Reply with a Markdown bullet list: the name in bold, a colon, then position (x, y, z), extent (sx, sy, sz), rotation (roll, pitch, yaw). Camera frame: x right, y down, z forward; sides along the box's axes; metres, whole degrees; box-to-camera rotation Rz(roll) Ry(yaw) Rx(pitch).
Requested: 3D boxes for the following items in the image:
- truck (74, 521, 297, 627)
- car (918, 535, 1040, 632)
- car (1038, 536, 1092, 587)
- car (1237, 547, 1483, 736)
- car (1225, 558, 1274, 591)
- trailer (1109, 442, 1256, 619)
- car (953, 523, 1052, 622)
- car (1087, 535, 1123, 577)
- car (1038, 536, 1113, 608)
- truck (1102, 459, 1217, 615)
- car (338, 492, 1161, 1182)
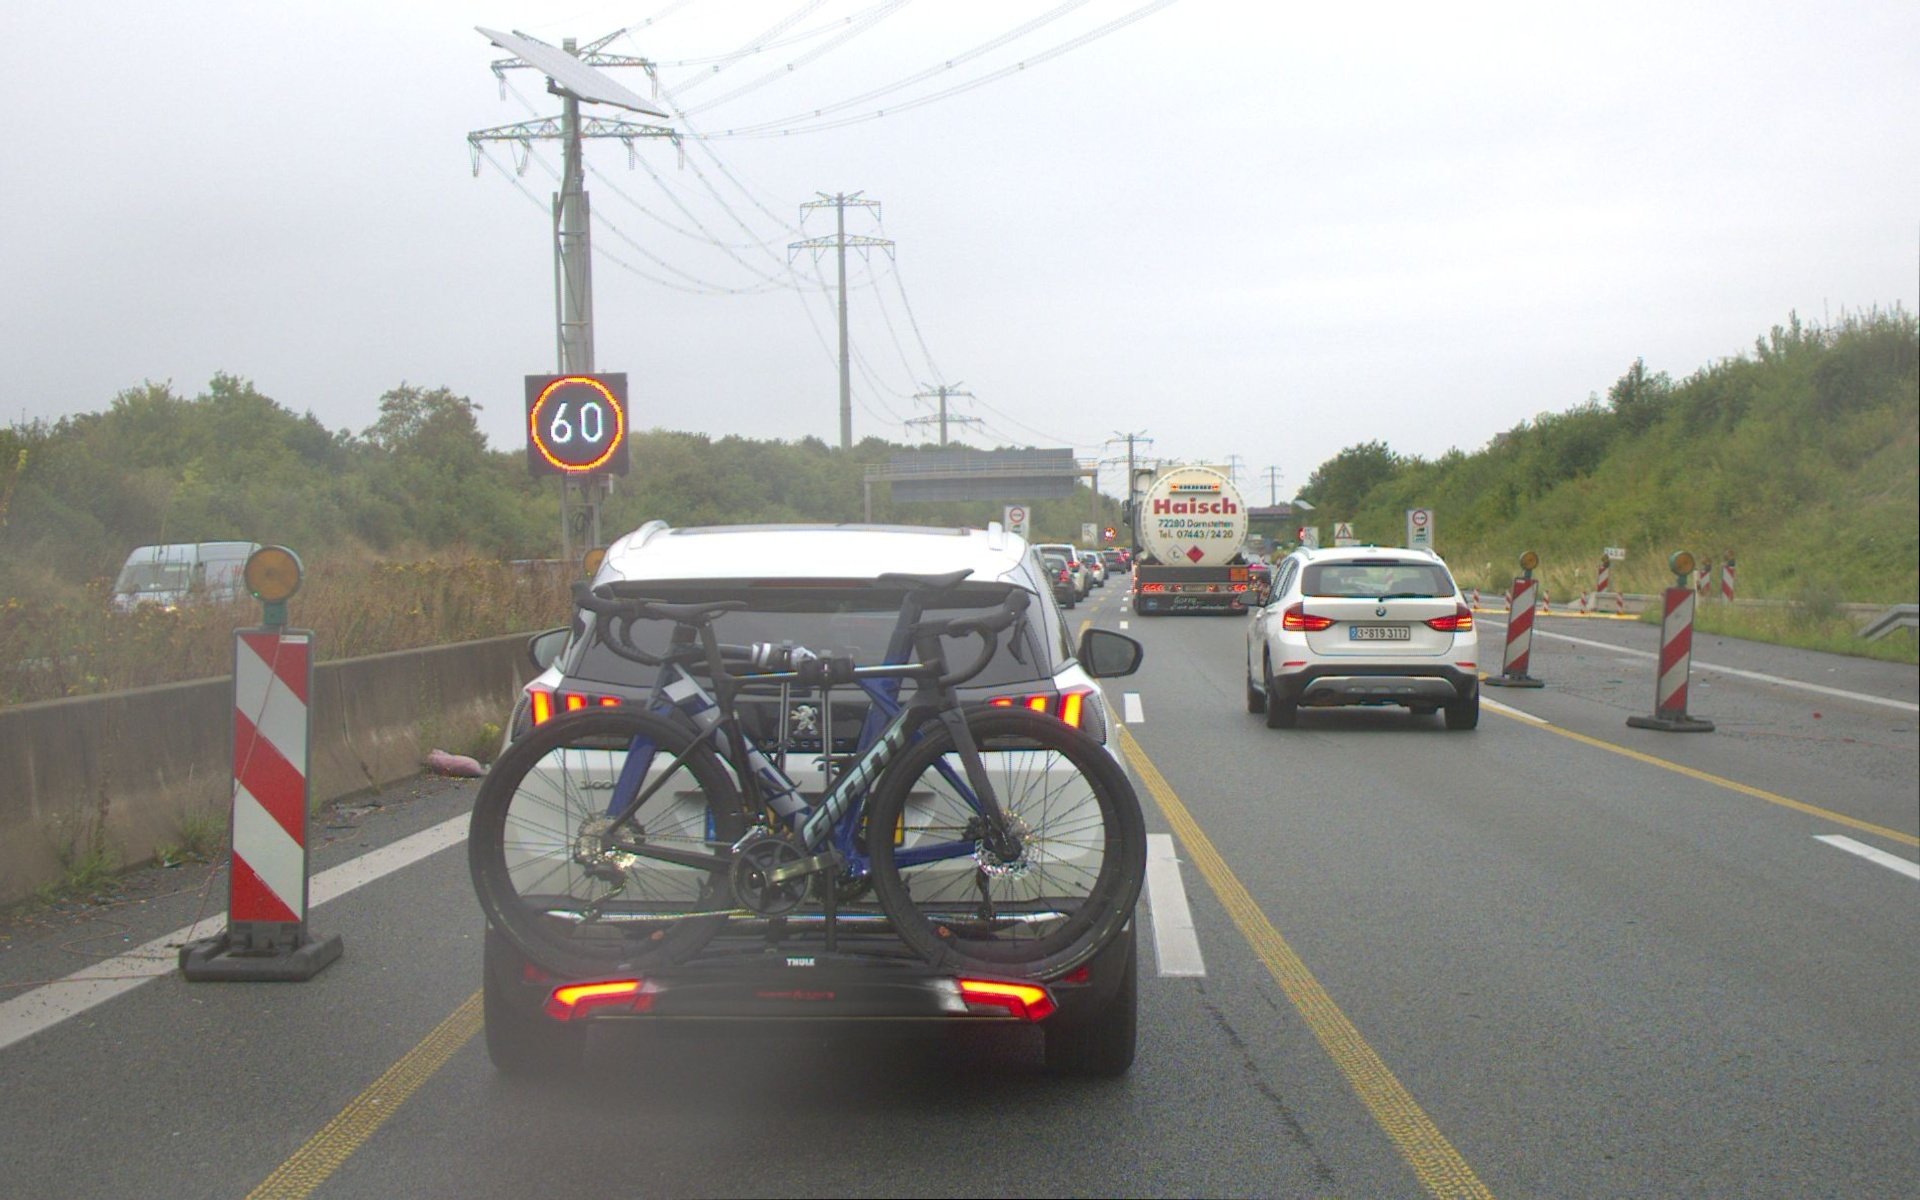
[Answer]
- **truck**: position (-18.807, -0.673, 83.881), extent (1.996, 2.419, 6.427), rotation (-1, 1, 21)
- **car**: position (0.286, -0.303, 58.179), extent (1.993, 1.578, 4.000), rotation (0, 1, -1)
- **car**: position (4.198, -1.533, 137.719), extent (1.993, 2.007, 4.000), rotation (1, 0, 0)
- **car**: position (3.419, 0.304, 30.032), extent (1.870, 1.529, 4.196), rotation (0, 1, 3)
- **car**: position (11.089, -0.996, 131.835), extent (1.482, 1.157, 3.907), rotation (-1, 1, -1)
- **trailer**: position (5.159, -1.568, 81.521), extent (2.637, 3.880, 10.544), rotation (1, 0, -1)
- **car**: position (0.893, -0.606, 73.823), extent (1.993, 2.007, 4.000), rotation (-1, 1, 0)
- **car**: position (7.049, -2.120, 166.755), extent (1.654, 2.007, 4.000), rotation (0, 1, 4)
- **car**: position (3.332, -0.808, 99.916), extent (1.993, 2.007, 4.000), rotation (1, 0, 0)
- **truck**: position (5.090, -1.591, 88.256), extent (2.644, 3.877, 4.030), rotation (1, 0, -1)
- **car**: position (-0.426, 0.516, 10.355), extent (1.928, 1.605, 4.595), rotation (0, 1, 2)
